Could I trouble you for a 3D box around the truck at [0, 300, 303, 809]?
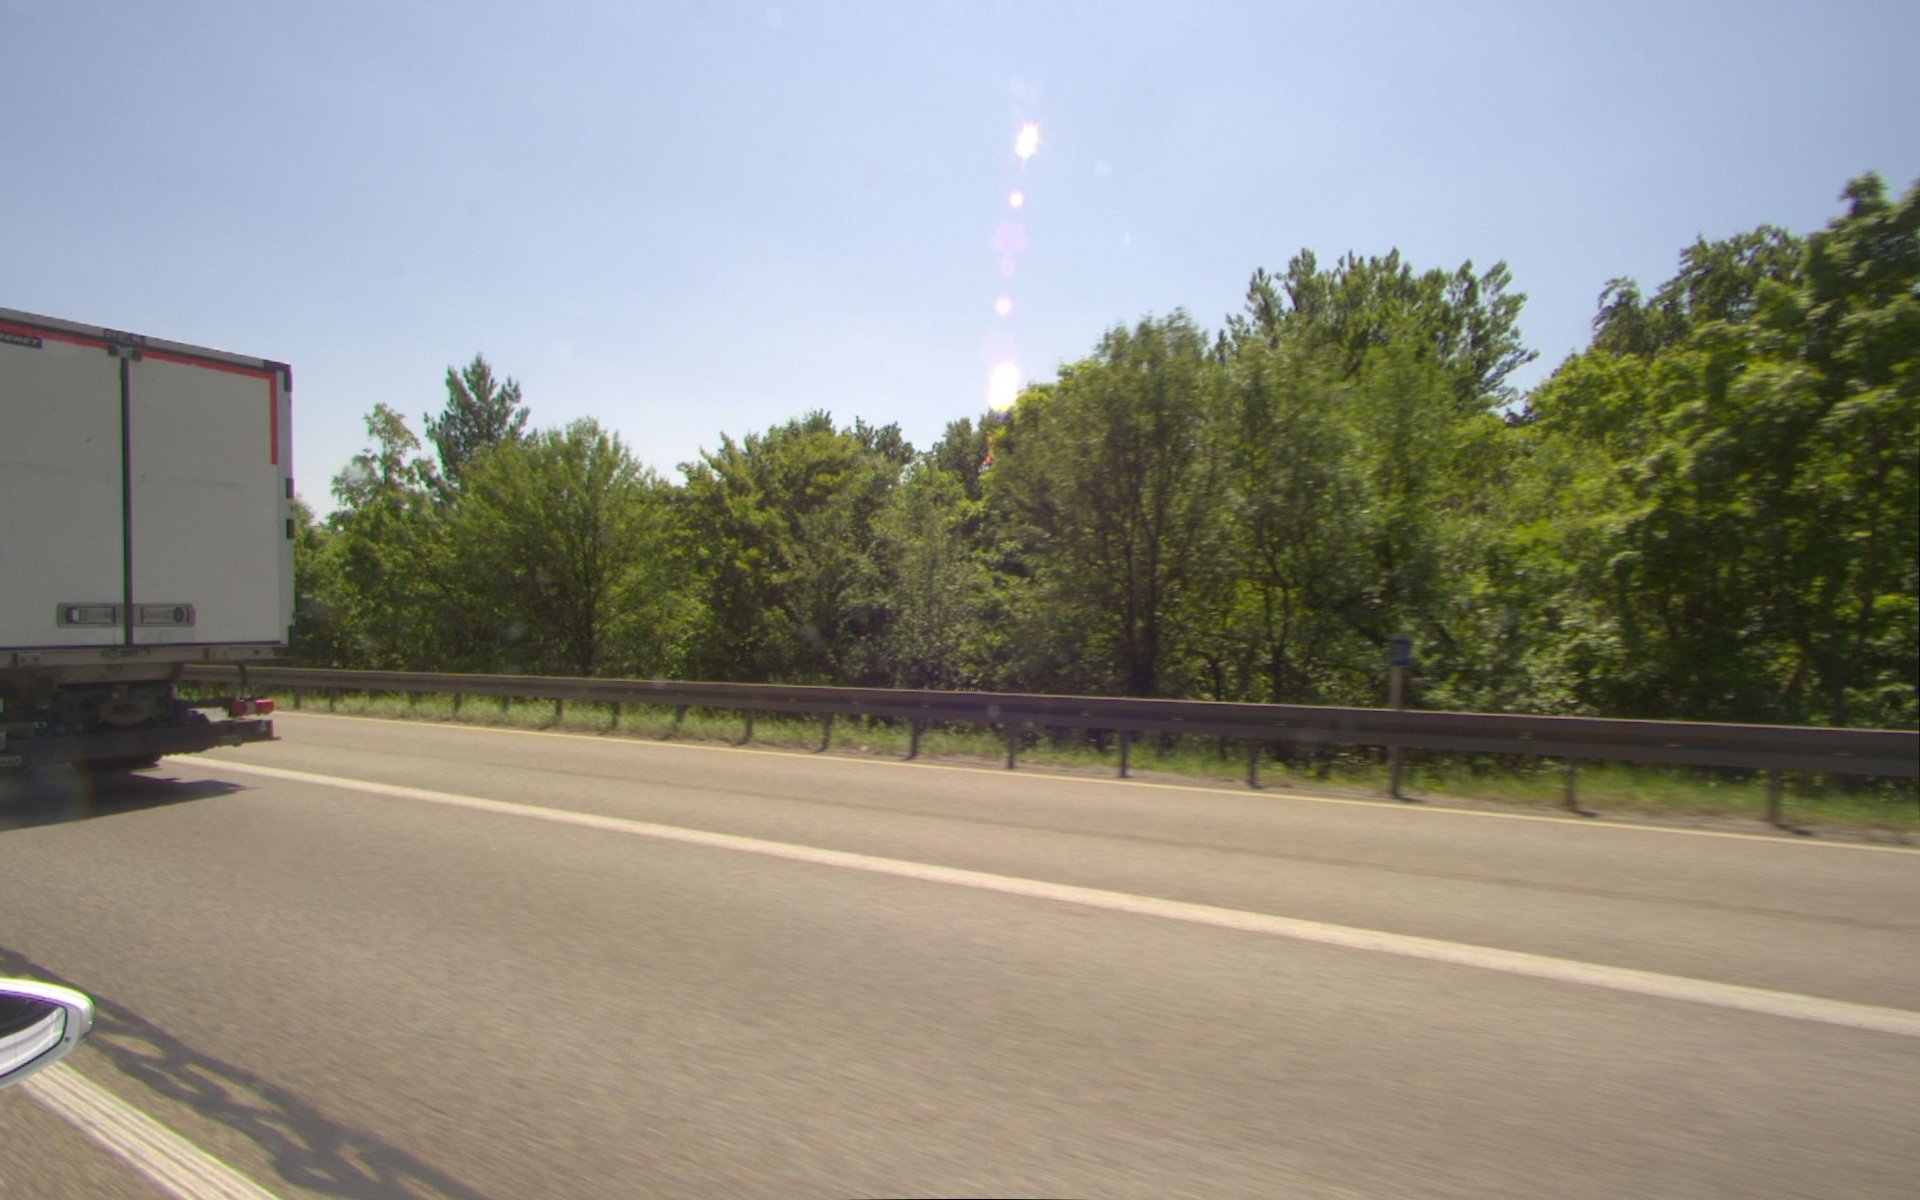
[{"bbox_3d":[-11.066,-0.303,10.977,9.639,3.927,2.683,-1,0,32],"label":"truck"}]
